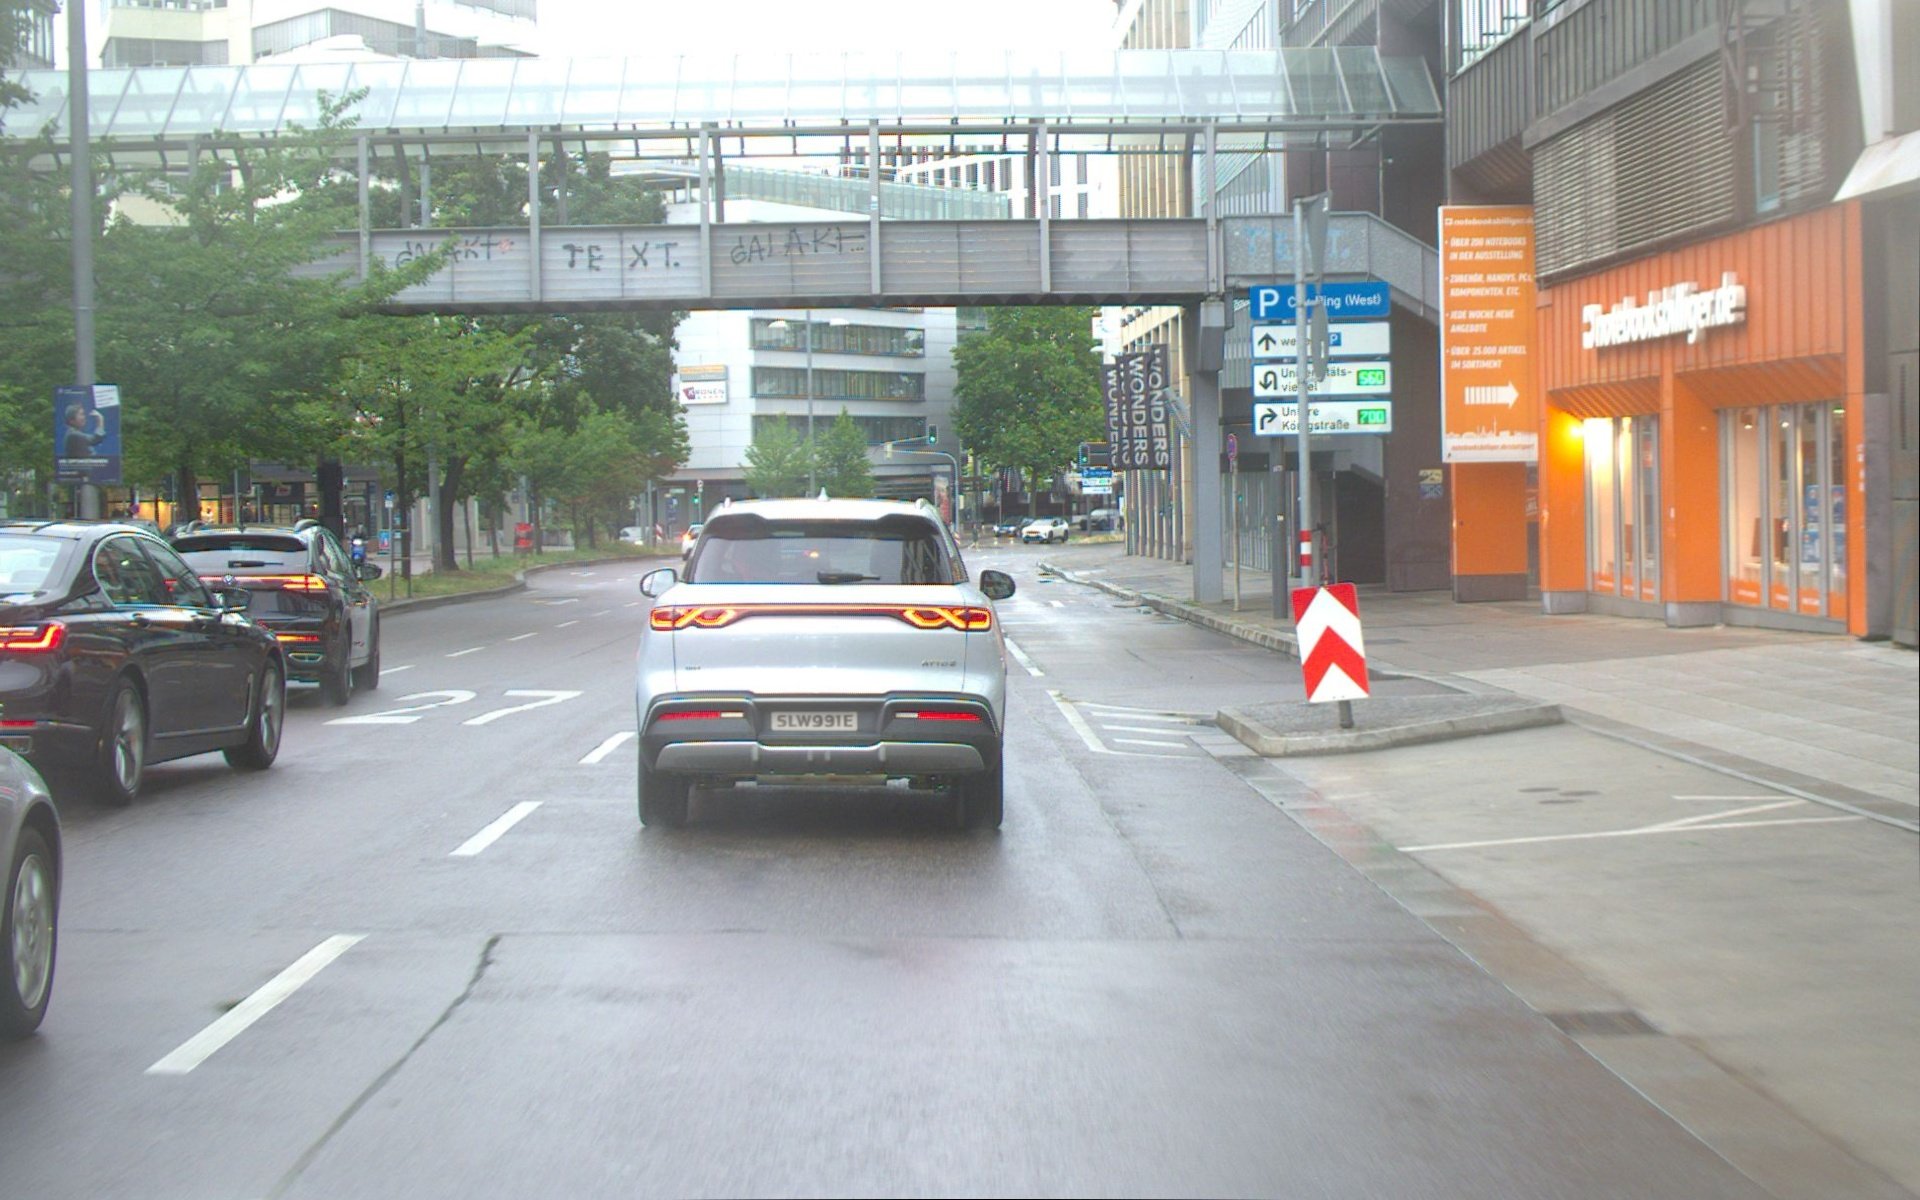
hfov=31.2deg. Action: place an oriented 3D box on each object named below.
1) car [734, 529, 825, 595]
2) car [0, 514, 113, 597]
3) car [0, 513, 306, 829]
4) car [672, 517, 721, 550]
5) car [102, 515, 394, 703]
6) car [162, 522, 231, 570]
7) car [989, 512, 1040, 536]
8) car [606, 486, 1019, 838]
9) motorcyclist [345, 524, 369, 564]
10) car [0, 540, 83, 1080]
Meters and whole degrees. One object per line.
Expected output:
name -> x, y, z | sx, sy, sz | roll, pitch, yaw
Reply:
car -> -4.433, -0.948, 84.864 | 1.812, 1.573, 4.000 | 0, 1, 3
car -> -17.179, -0.829, 64.540 | 1.661, 1.459, 4.082 | -3, 1, -3
car -> -5.065, 0.289, 18.892 | 1.872, 1.474, 4.878 | -1, 2, 2
car -> -10.830, -2.749, 141.333 | 1.653, 1.337, 4.000 | 0, 1, 1
car -> -5.935, 0.050, 29.094 | 1.774, 1.452, 4.000 | -1, 1, -2
car -> -26.492, -1.890, 119.348 | 1.623, 1.605, 4.233 | 0, 1, -3
car -> 3.509, -4.919, 221.787 | 1.583, 1.533, 3.994 | 0, 1, 30
car -> -0.727, 0.263, 18.081 | 1.901, 1.616, 4.000 | 1, 1, -1
motorcyclist -> -21.304, -1.983, 121.489 | 0.638, 1.413, 0.970 | -1, 0, -1
car -> -3.437, 0.579, 8.142 | 1.672, 1.474, 4.361 | 0, 0, -1
